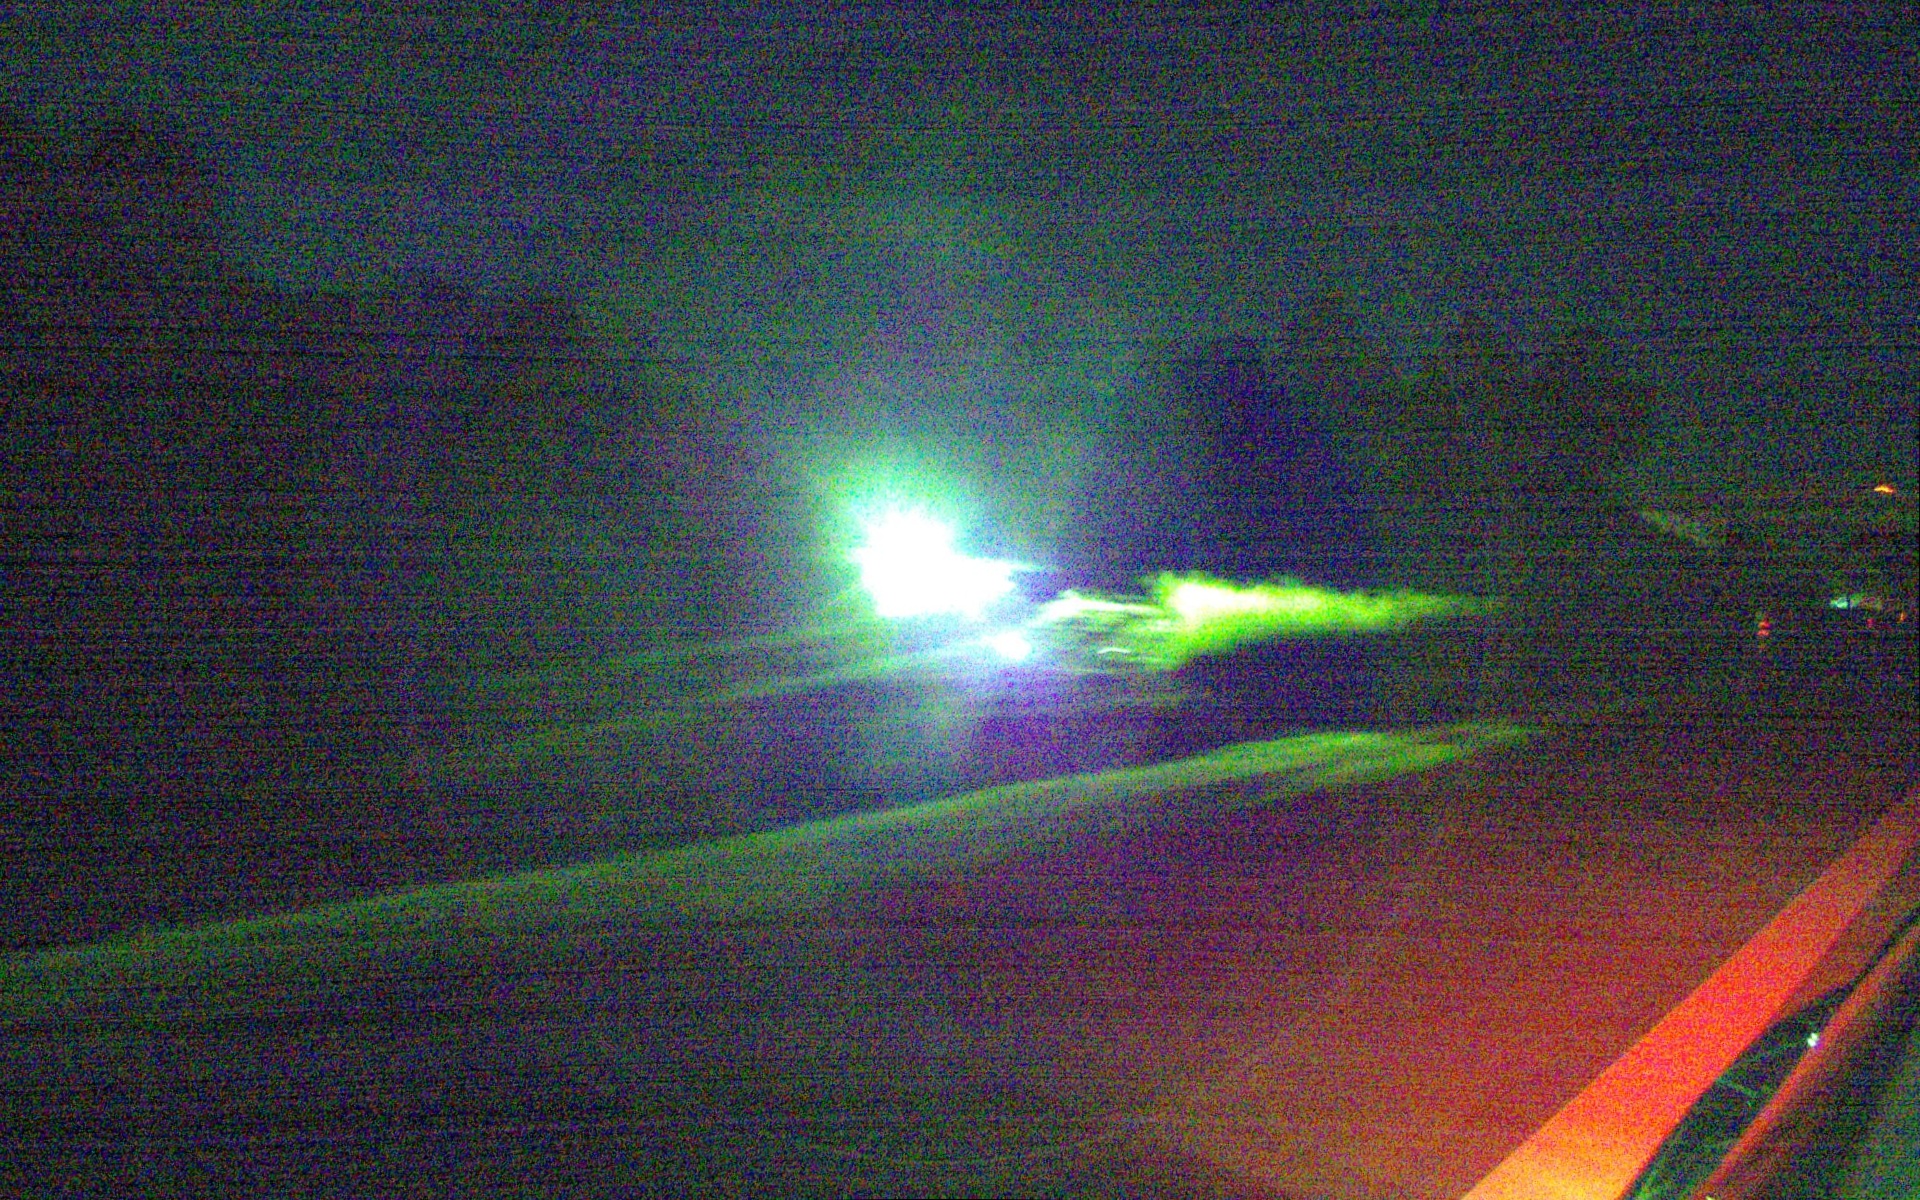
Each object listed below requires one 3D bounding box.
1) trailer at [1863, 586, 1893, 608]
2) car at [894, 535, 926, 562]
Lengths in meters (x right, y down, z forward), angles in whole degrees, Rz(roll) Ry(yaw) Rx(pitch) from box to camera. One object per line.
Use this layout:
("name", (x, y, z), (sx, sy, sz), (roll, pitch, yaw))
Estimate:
("trailer", (174.642, -0.556, 192.529), (2.707, 4.006, 8.939), (2, 1, 33))
("car", (-3.938, -3.985, 78.920), (1.958, 1.877, 4.007), (0, 0, -11))
